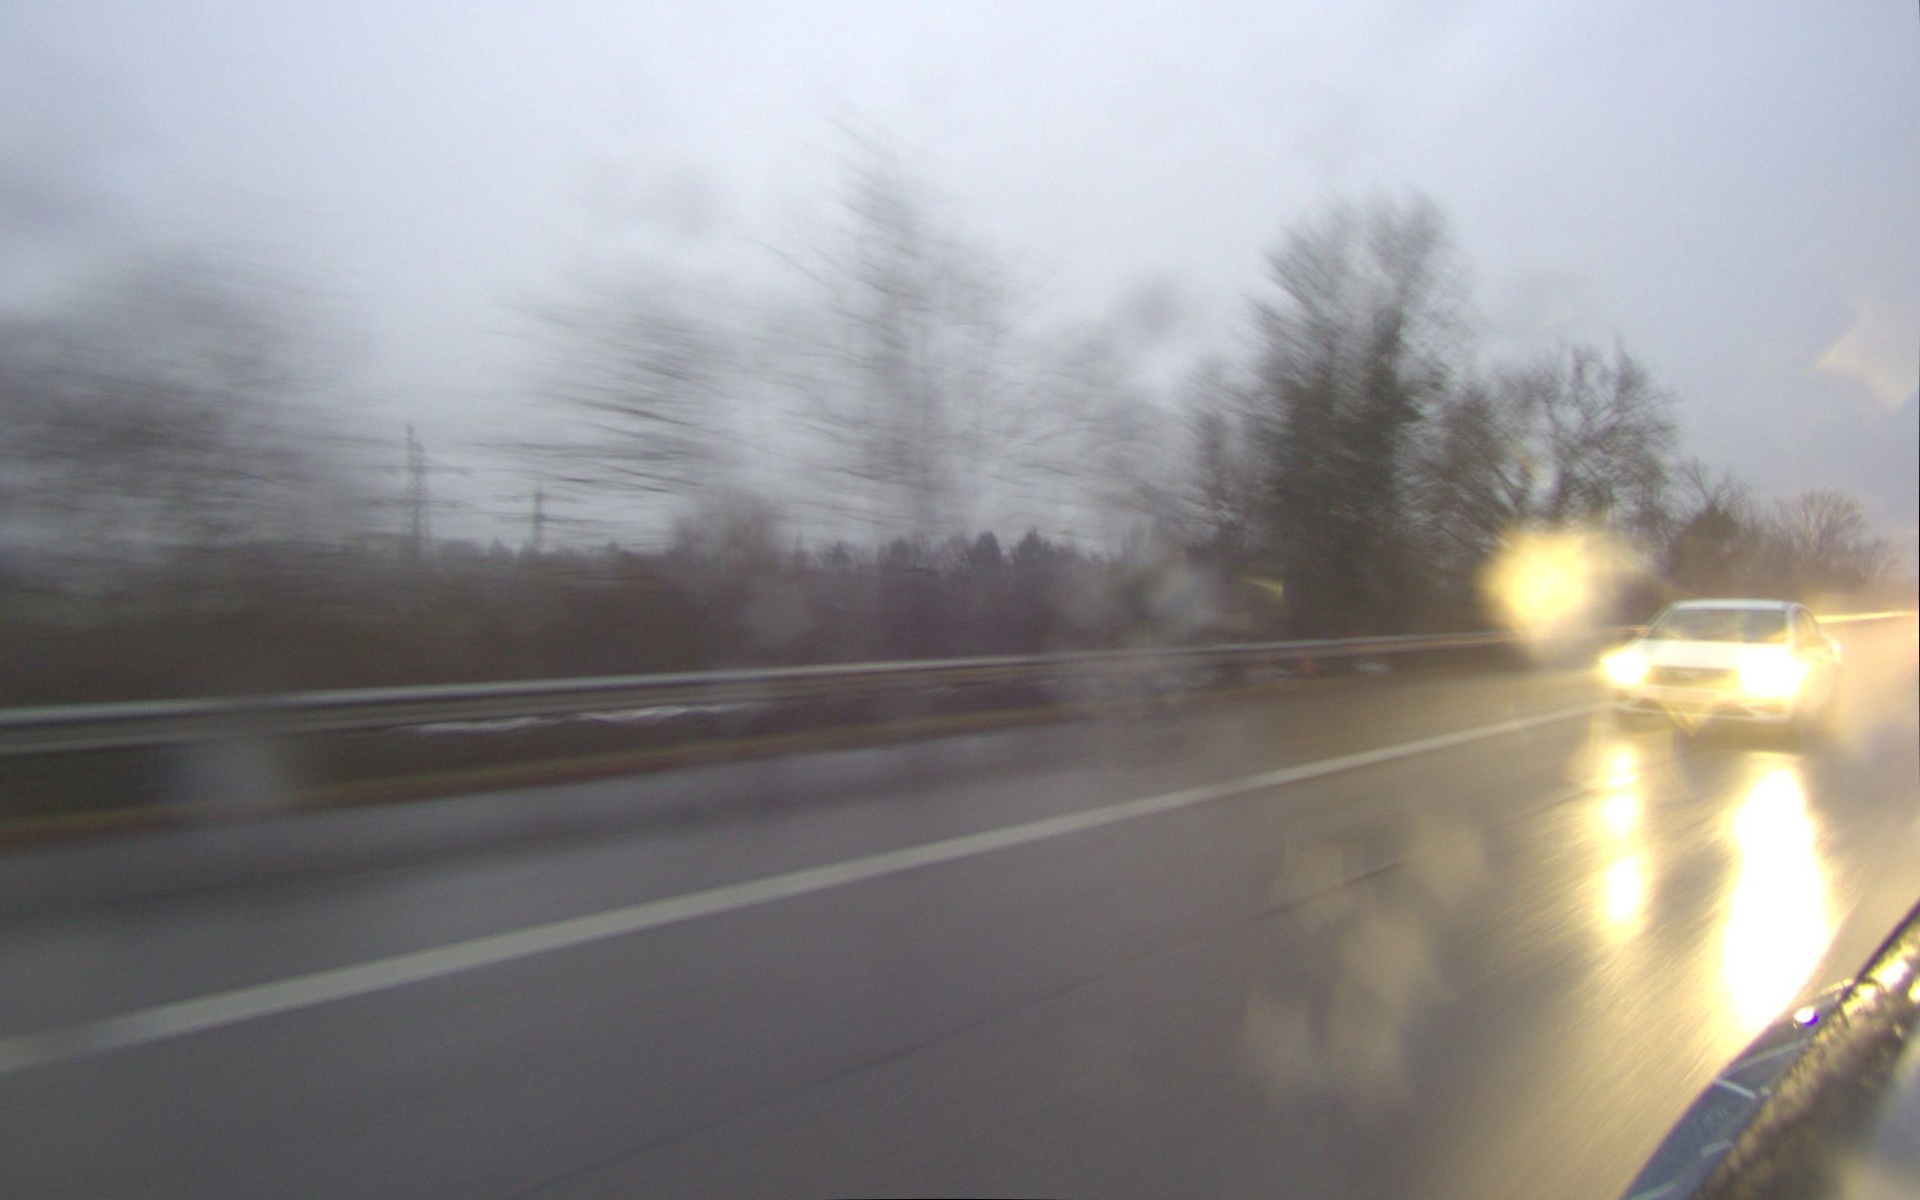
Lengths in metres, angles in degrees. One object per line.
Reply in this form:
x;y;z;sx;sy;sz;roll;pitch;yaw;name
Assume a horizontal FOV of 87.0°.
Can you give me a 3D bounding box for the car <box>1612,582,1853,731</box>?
9.549;0.594;12.395;3.934;1.522;1.799;1;0;-44;car
